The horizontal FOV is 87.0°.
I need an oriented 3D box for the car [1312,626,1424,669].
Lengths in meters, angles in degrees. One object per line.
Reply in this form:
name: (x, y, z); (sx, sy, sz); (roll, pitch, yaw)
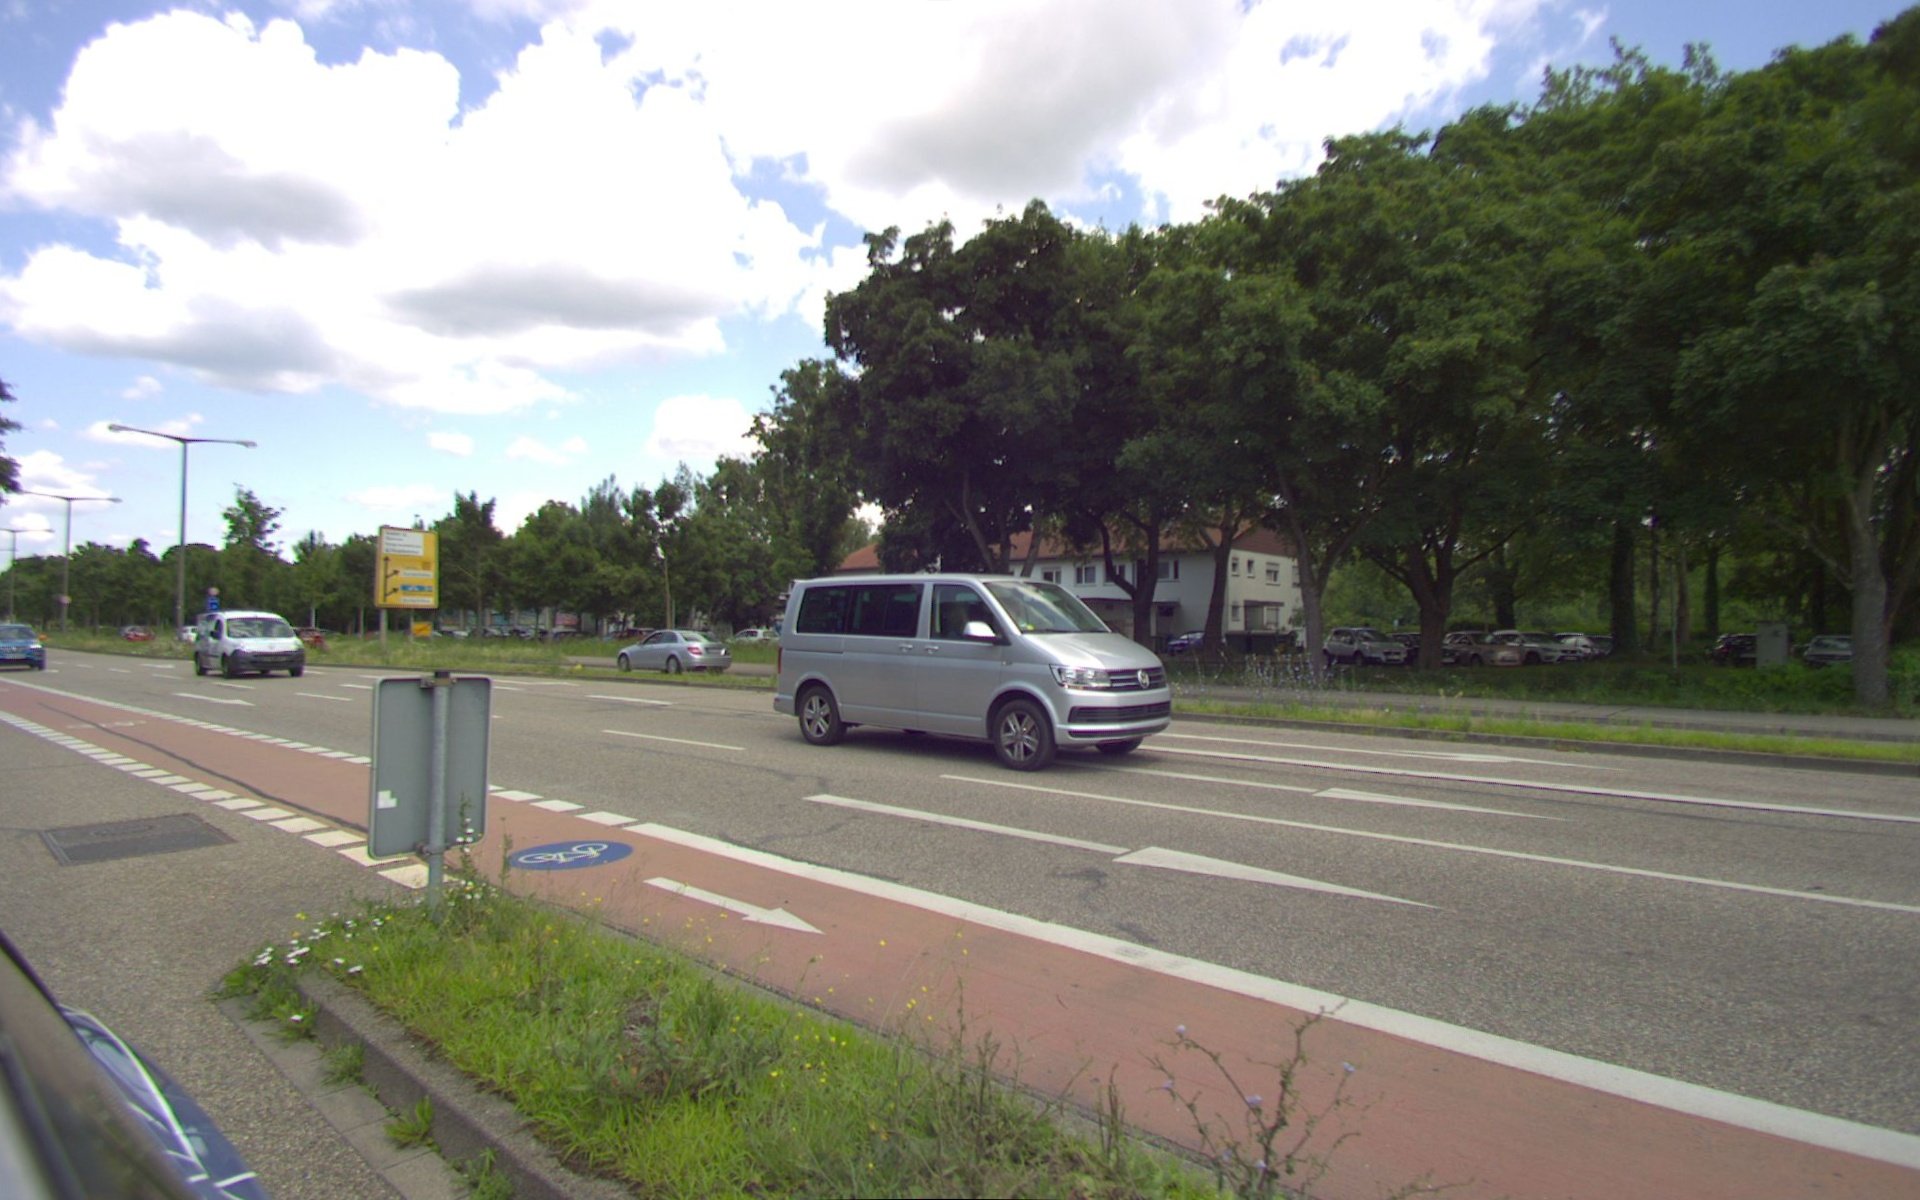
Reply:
car: (15.179, 1.770, 37.875); (1.967, 1.495, 4.032); (1, -2, -12)

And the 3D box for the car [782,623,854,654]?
car: (-7.739, 2.097, 55.039); (4.023, 1.600, 1.739); (-2, -3, 43)

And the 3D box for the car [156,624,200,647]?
car: (-52.044, 2.364, 67.311); (3.590, 1.456, 1.595); (-1, -1, 40)

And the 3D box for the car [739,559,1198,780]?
car: (-0.134, 0.683, 11.280); (5.230, 1.933, 1.794); (-1, -3, 42)

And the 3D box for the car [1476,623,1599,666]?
car: (22.437, 1.726, 39.508); (1.967, 1.557, 4.032); (1, -2, -12)

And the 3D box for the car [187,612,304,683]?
car: (-19.625, 1.263, 27.735); (4.154, 1.799, 1.724); (-2, -2, 41)

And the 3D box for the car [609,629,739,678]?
car: (-9.106, 1.661, 32.041); (4.493, 1.443, 1.781); (-2, -3, 40)

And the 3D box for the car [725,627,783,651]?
car: (-11.937, 2.269, 58.529); (3.476, 1.342, 1.603); (-2, -3, 43)

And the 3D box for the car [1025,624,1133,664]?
car: (5.156, 1.881, 43.989); (4.349, 1.670, 1.793); (-1, -1, 32)

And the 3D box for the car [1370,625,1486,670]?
car: (17.690, 1.785, 38.504); (1.967, 1.600, 4.032); (1, -2, -12)

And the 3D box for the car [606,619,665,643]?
car: (-21.612, 2.075, 67.334); (4.023, 1.600, 1.972); (-2, -3, 43)

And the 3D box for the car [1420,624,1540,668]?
car: (19.998, 1.833, 39.138); (1.967, 1.600, 4.032); (1, -4, -12)

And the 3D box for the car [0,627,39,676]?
car: (-30.541, 1.612, 32.127); (3.703, 1.475, 1.582); (-2, -4, 43)

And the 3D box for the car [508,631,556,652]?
car: (-33.516, 3.238, 79.246); (4.023, 1.600, 1.972); (-2, -3, 43)

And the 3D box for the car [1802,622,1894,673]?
car: (32.062, 1.705, 36.511); (4.062, 1.723, 1.822); (2, -3, -40)

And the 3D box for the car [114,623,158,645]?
car: (-62.484, 2.574, 76.732); (3.998, 1.630, 1.972); (-2, -3, 42)

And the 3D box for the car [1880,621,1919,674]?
car: (33.498, 1.632, 34.679); (4.502, 1.738, 2.051); (2, -3, -36)

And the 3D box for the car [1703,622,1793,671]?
car: (29.793, 1.747, 38.211); (4.062, 1.741, 1.822); (2, -3, -40)

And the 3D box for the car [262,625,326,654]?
car: (-36.614, 2.124, 55.604); (3.997, 1.523, 1.868); (-1, -1, 40)

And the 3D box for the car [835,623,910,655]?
car: (-4.541, 1.996, 52.195); (3.666, 1.600, 1.895); (-2, -3, 43)
